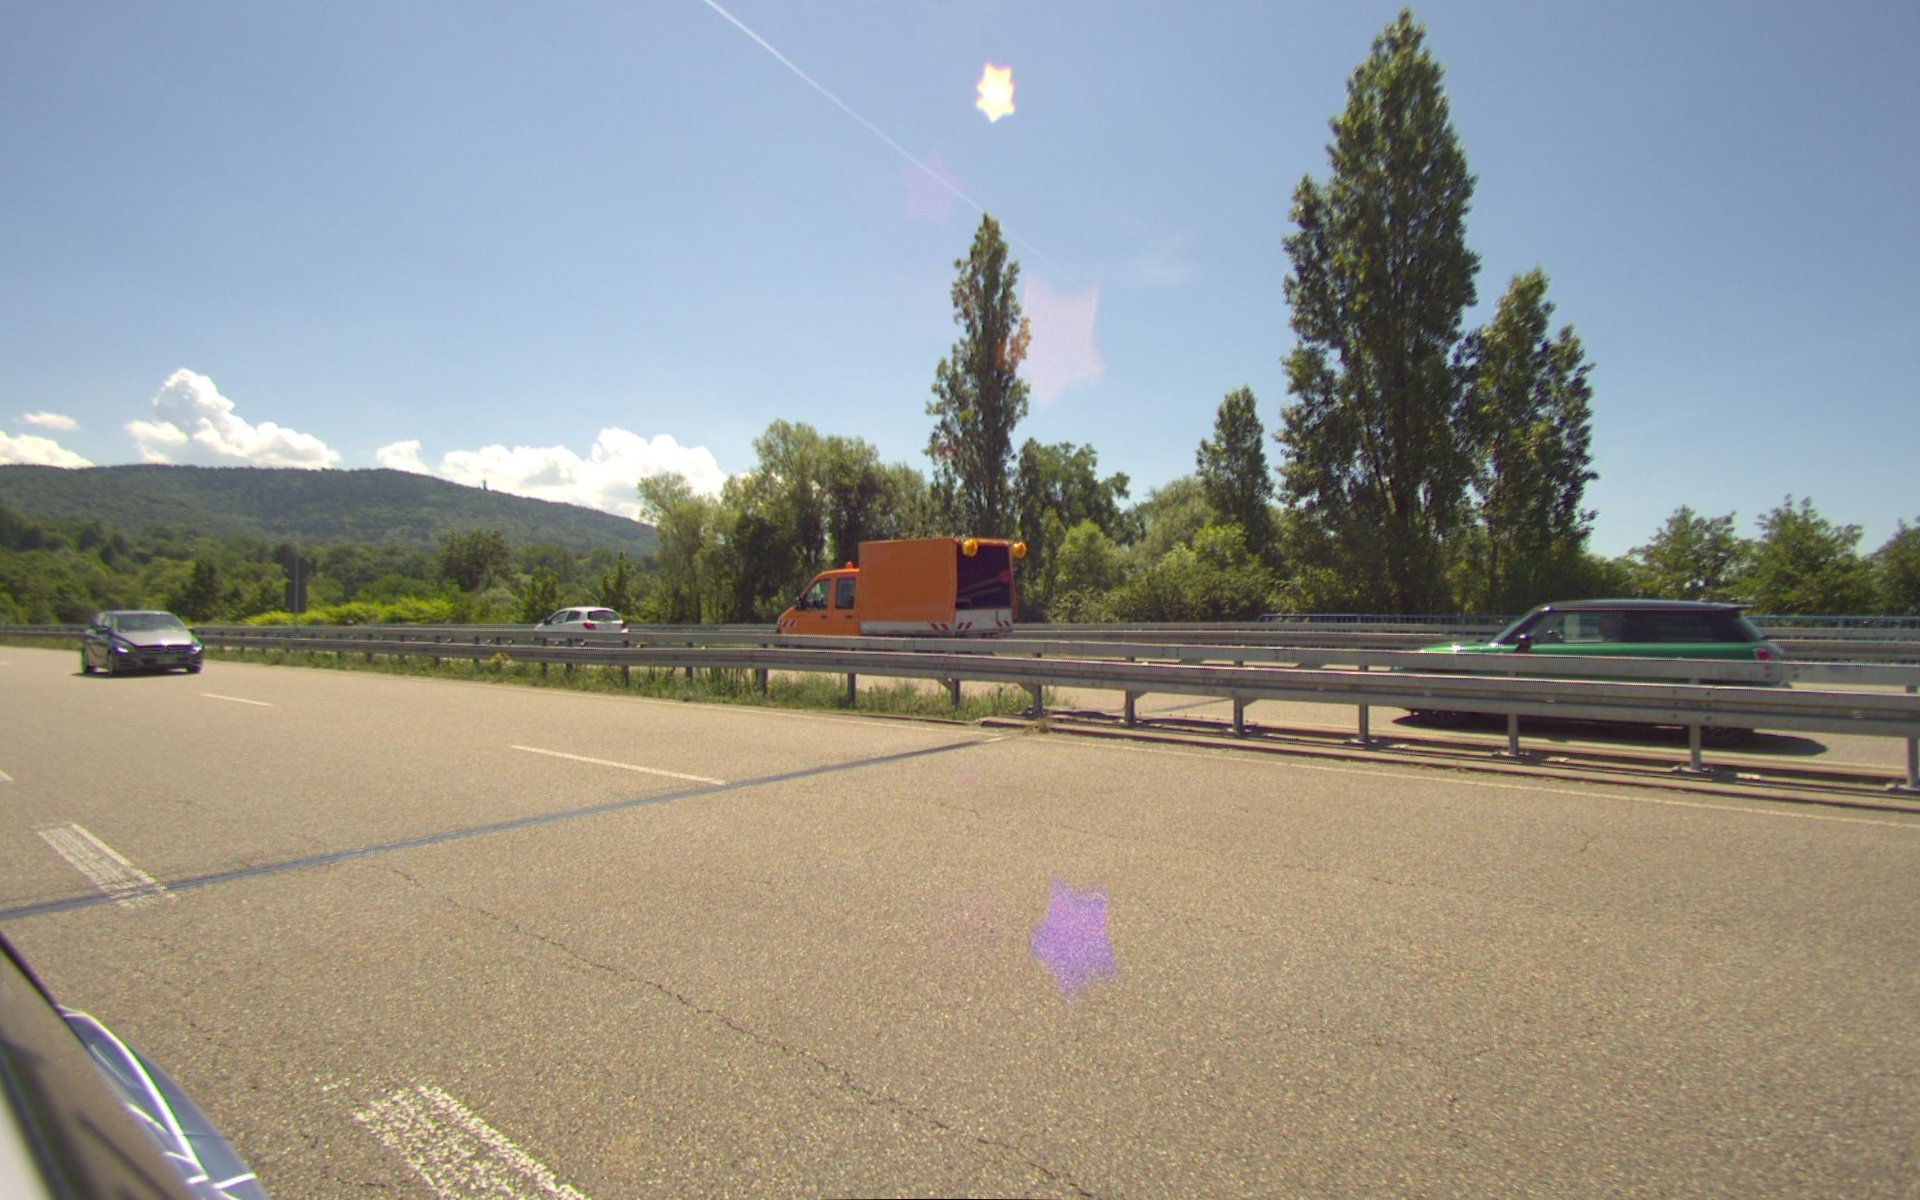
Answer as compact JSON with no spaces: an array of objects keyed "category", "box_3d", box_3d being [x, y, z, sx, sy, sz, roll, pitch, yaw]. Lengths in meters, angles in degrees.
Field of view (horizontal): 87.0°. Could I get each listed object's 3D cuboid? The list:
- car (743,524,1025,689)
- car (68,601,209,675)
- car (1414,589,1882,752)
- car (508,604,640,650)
[{"category":"car","box_3d":[-1.963,0.184,23.620,7.023,3.317,2.282,-1,-2,40]},{"category":"car","box_3d":[-20.608,0.881,25.335,4.548,1.680,1.776,0,1,38]},{"category":"car","box_3d":[7.225,0.625,10.895,3.946,1.439,1.707,0,-1,41]},{"category":"car","box_3d":[-12.890,0.879,33.644,4.786,1.443,1.836,-1,-2,37]}]
